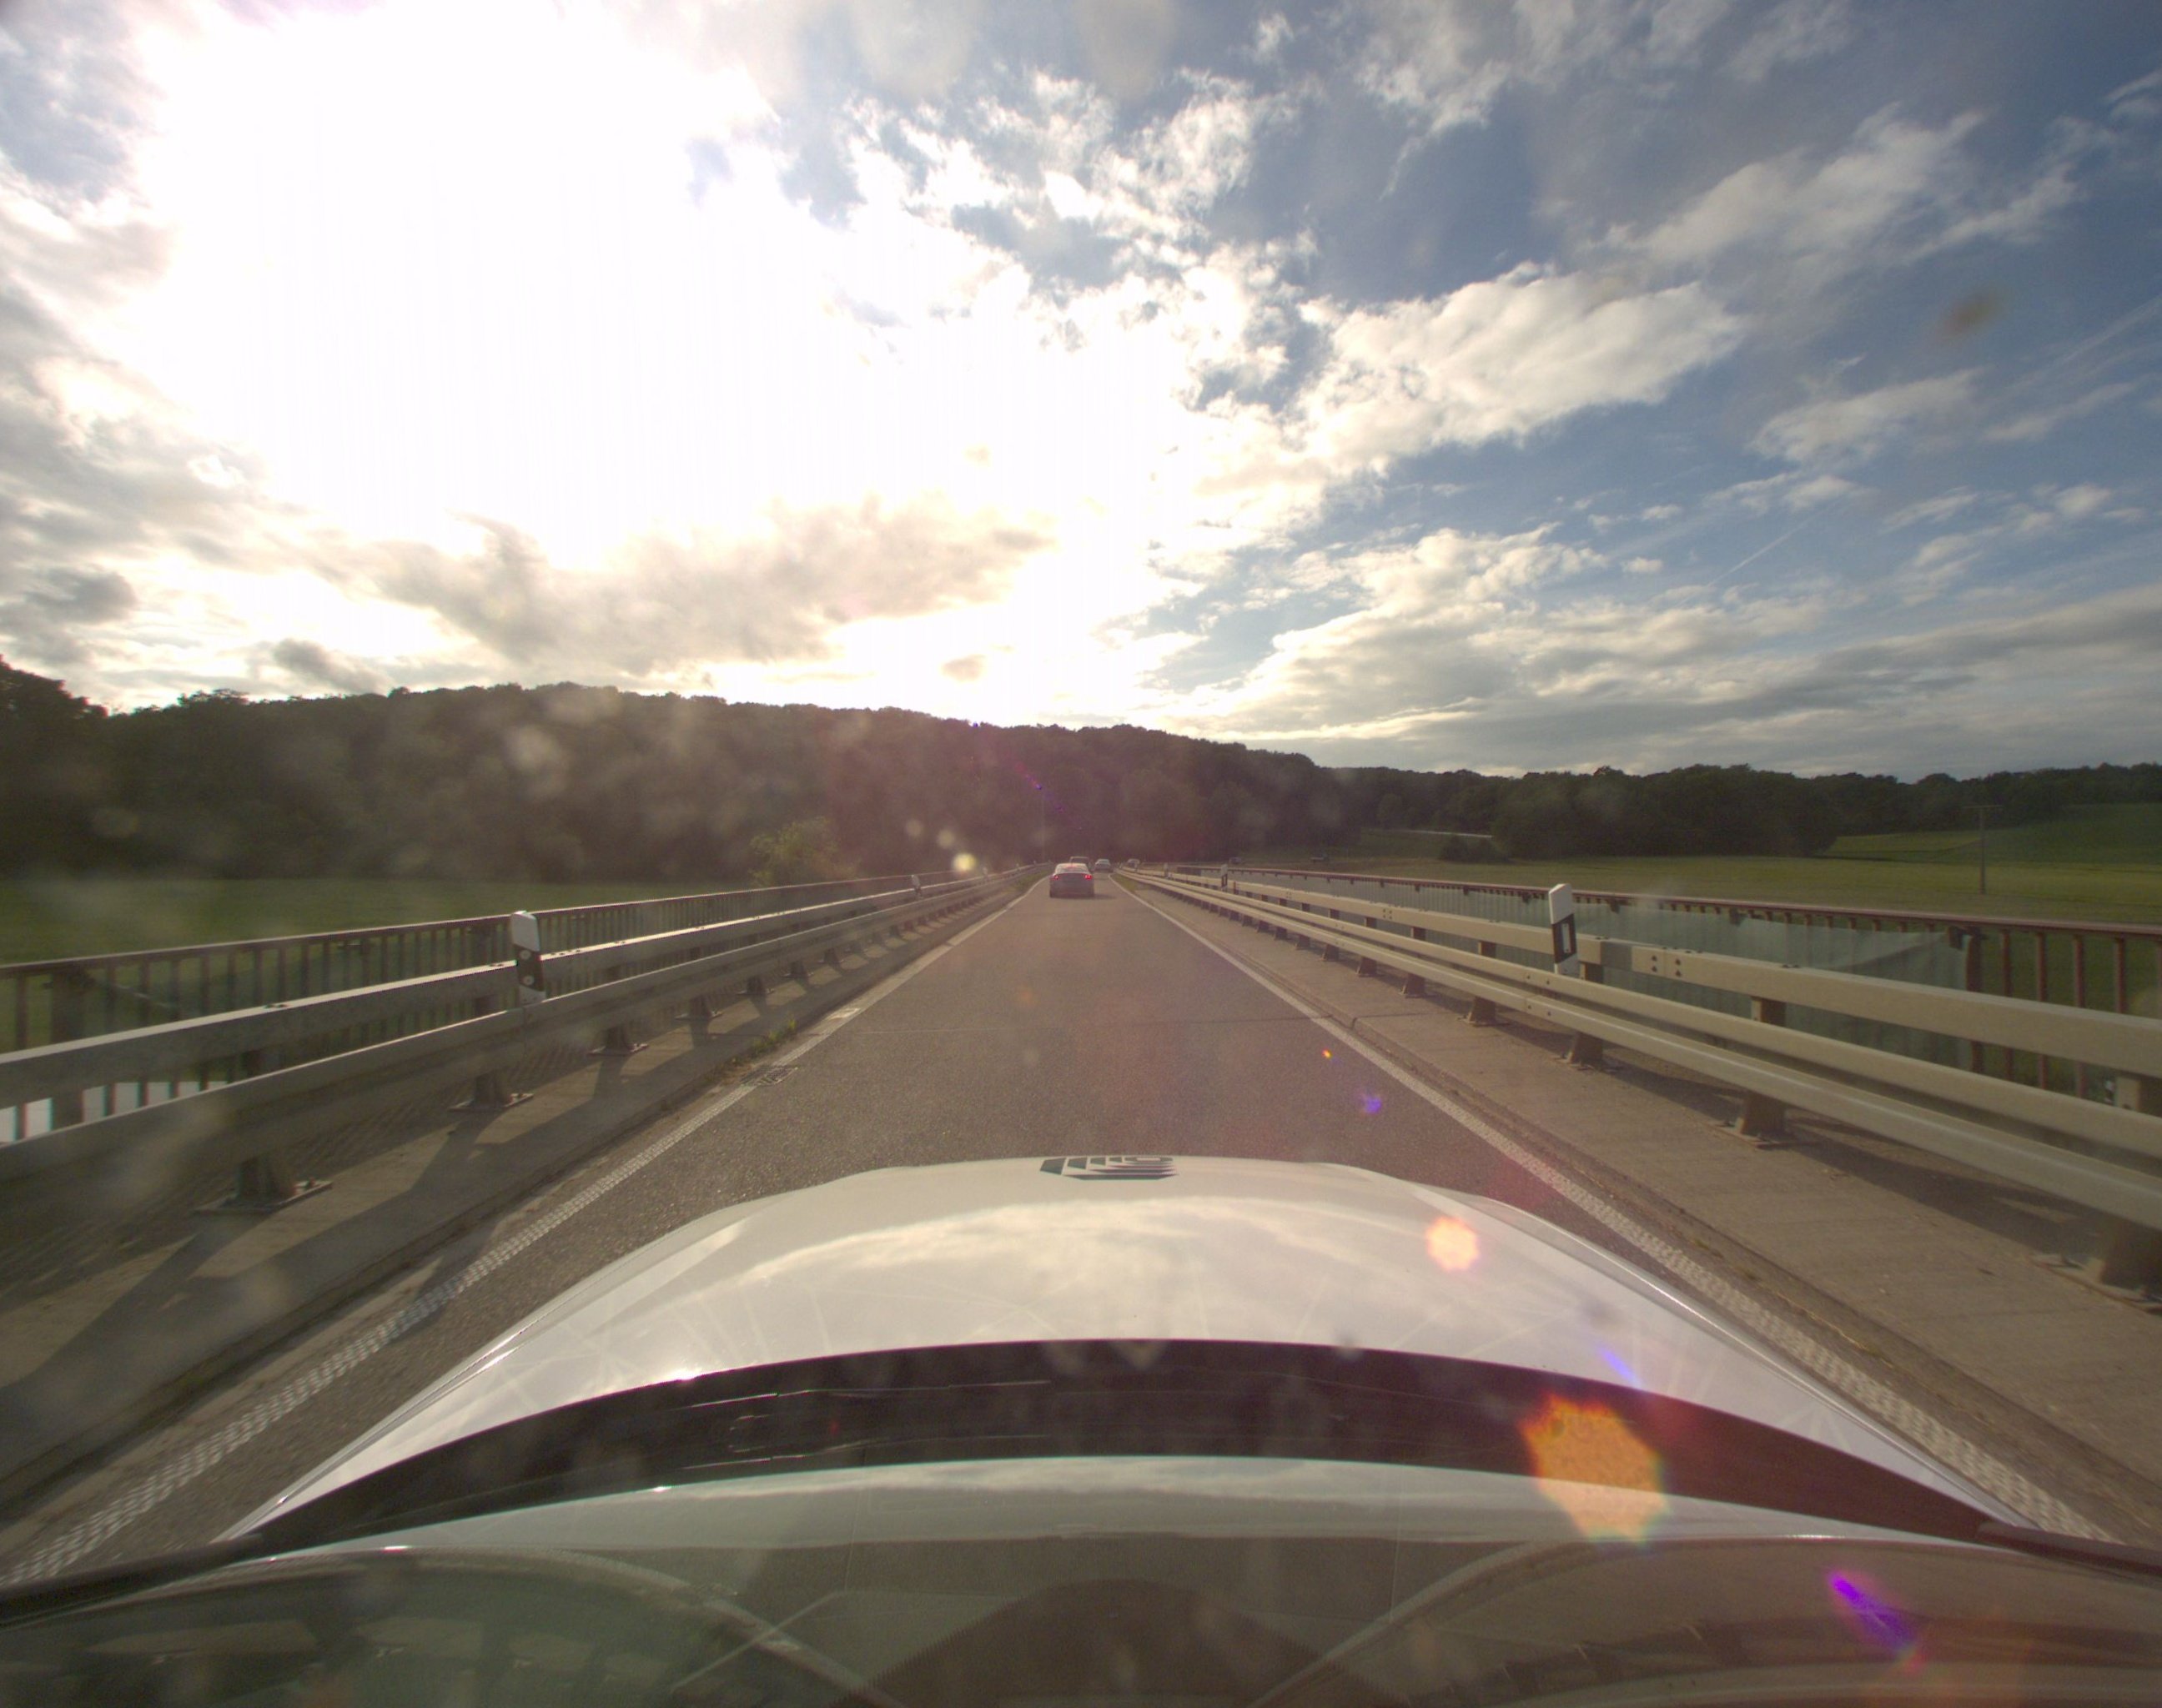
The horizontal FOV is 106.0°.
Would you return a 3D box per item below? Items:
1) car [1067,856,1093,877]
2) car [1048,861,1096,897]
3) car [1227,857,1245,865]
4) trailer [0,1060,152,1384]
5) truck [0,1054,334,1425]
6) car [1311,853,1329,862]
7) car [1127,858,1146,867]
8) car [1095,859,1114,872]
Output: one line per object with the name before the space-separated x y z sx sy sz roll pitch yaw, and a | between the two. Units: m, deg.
car | -0.041 0.936 61.405 1.855 1.569 4.000 0 0 1
car | -0.413 1.037 34.296 1.814 1.339 4.347 -2 -1 -2
car | 31.058 1.410 163.154 1.974 1.679 4.204 1 -1 38
trailer | -23.150 6.062 12.975 12.649 4.467 3.031 -1 2 -2
truck | -17.593 5.954 13.112 8.007 4.467 3.029 -1 2 -2
car | 55.033 0.765 187.837 4.018 1.772 1.977 3 -3 -37
car | 7.929 1.255 115.988 1.457 1.227 3.319 -1 -1 29
car | 2.696 1.321 93.113 1.673 1.376 4.009 0 -1 8
